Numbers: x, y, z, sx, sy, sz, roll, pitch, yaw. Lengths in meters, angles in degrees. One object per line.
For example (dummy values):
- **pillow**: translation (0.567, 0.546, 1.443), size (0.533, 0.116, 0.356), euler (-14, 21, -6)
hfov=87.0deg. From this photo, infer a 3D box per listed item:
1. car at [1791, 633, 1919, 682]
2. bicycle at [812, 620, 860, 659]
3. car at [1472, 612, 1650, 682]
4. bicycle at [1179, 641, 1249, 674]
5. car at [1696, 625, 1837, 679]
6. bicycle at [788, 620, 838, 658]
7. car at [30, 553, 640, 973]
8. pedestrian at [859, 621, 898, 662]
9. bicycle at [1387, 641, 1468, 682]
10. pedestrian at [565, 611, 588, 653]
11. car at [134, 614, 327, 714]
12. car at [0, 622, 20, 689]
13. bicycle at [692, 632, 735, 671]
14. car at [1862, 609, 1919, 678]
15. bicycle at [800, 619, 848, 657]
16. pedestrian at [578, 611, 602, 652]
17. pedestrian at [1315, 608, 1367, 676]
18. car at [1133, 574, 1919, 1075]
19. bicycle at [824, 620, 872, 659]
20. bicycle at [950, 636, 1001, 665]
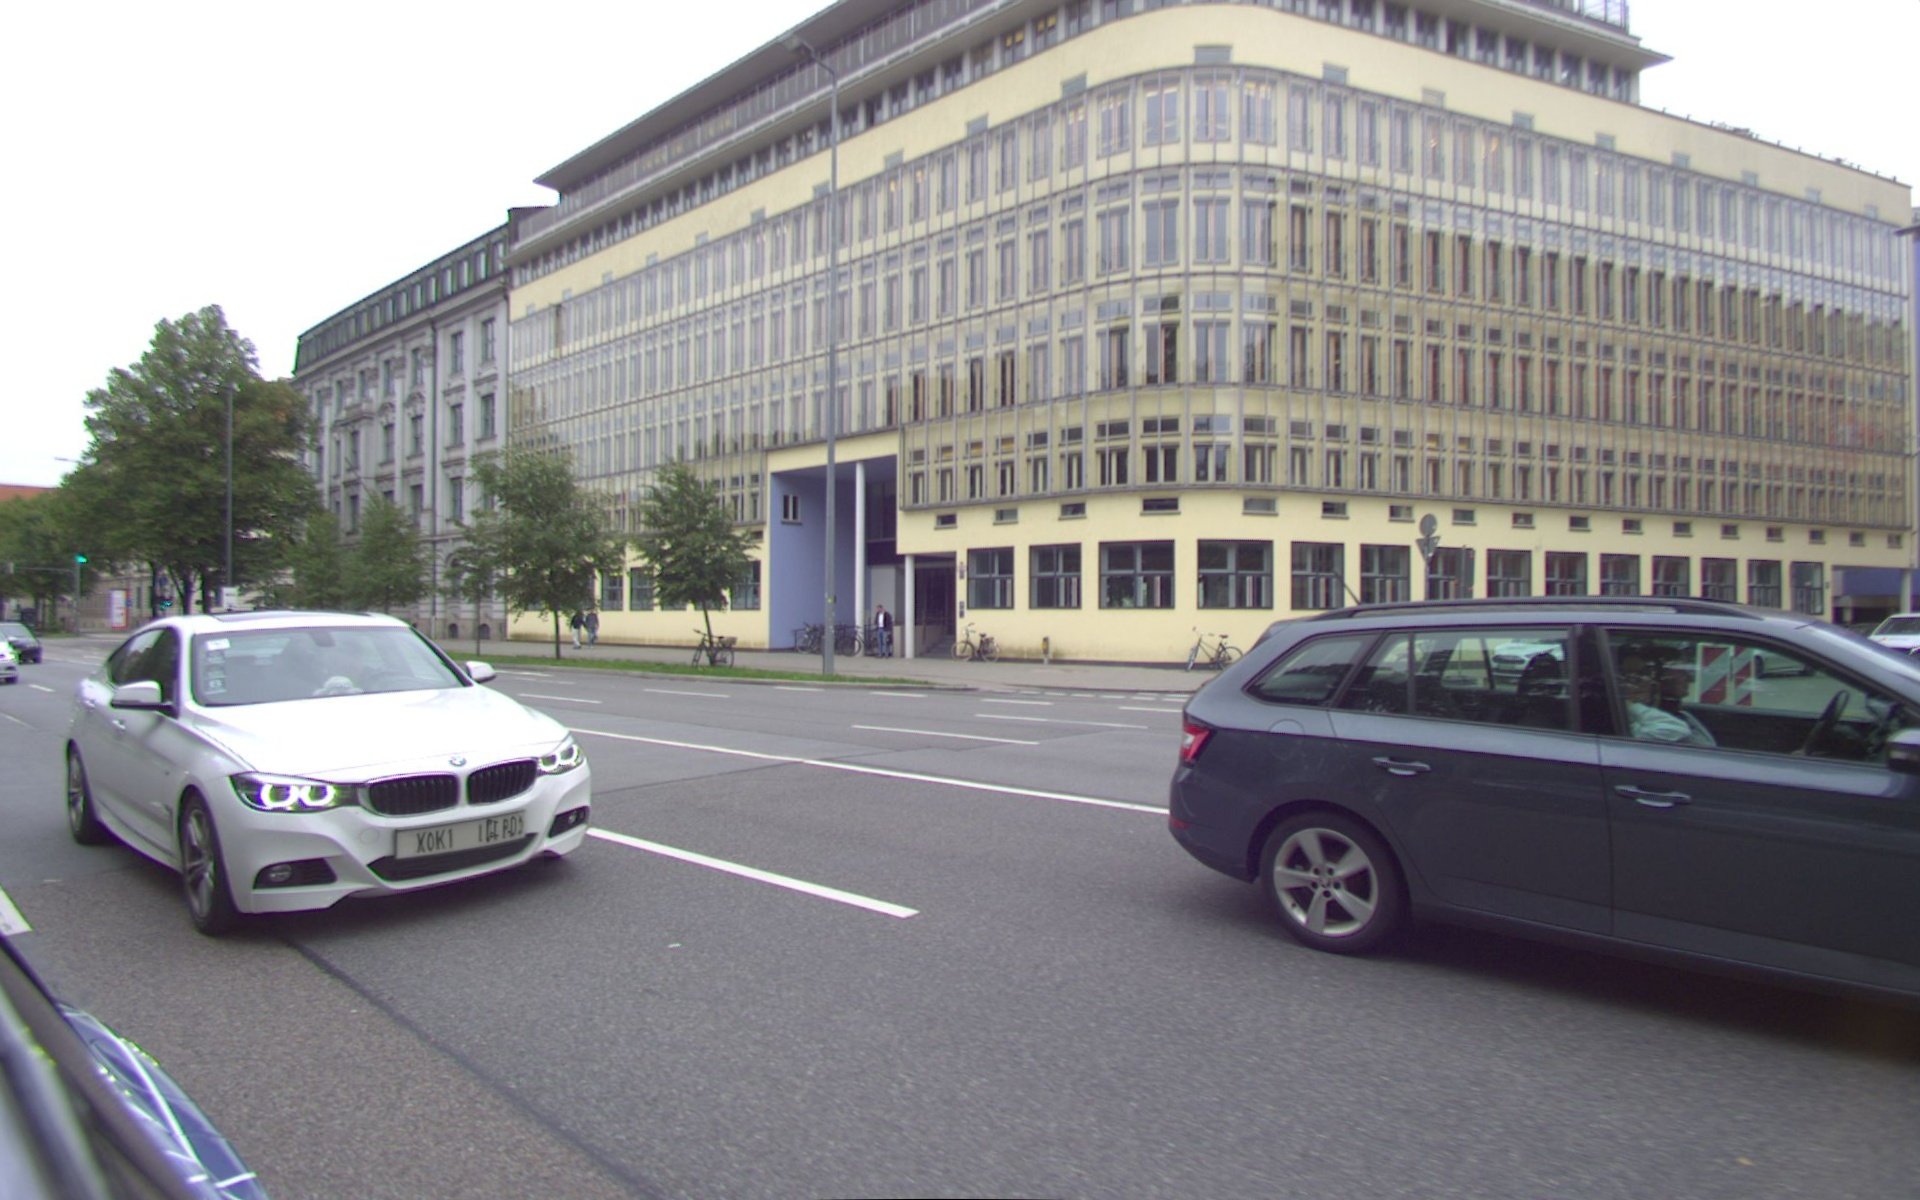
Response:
- **car**: translation (28.961, 1.810, 32.616), size (3.607, 1.468, 1.748), euler (0, -2, -21)
- **bicycle**: translation (-4.562, 1.439, 37.350), size (0.573, 1.328, 1.991), euler (-1, 0, 35)
- **car**: translation (16.286, 1.232, 27.460), size (4.254, 1.763, 1.876), euler (0, -2, -21)
- **bicycle**: translation (6.883, 1.554, 27.453), size (1.710, 0.884, 0.587), euler (0, -2, -7)
- **car**: translation (23.915, 1.512, 30.002), size (3.896, 1.509, 1.494), euler (0, -2, -22)
- **bicycle**: translation (-5.532, 1.454, 38.195), size (0.637, 1.328, 1.991), euler (-1, 0, 35)
- **car**: translation (-4.172, 0.673, 6.301), size (5.023, 1.649, 1.774), euler (-1, -1, 40)
- **pedestrian**: translation (-2.779, 1.394, 34.483), size (1.085, 1.375, 0.829), euler (-2, -2, 41)
- **bicycle**: translation (11.897, 1.557, 25.754), size (1.817, 1.028, 0.587), euler (0, -2, -7)
- **pedestrian**: translation (-16.732, 1.373, 44.156), size (0.835, 1.790, 0.609), euler (-1, 0, 41)
- **car**: translation (-12.615, 1.013, 17.409), size (4.335, 1.528, 1.674), euler (-1, -2, 40)
- **car**: translation (-23.142, 1.240, 23.254), size (4.272, 1.458, 1.774), euler (-1, -1, 40)
- **bicycle**: translation (-6.549, 1.355, 26.865), size (1.382, 1.020, 0.278), euler (-1, 0, 37)
- **car**: translation (28.812, 1.225, 29.423), size (4.984, 1.924, 1.758), euler (0, -2, -22)
- **bicycle**: translation (-5.057, 1.416, 37.716), size (0.573, 1.328, 1.991), euler (-1, 0, 35)
- **pedestrian**: translation (-16.329, 1.382, 44.661), size (0.835, 1.790, 0.609), euler (-1, 0, 41)
- **pedestrian**: translation (10.198, 1.107, 27.107), size (0.978, 1.746, 0.817), euler (-1, 0, -19)
- **car**: translation (2.989, 0.669, 3.960), size (4.272, 1.458, 1.774), euler (-1, -1, 40)
- **bicycle**: translation (-4.066, 1.423, 36.979), size (0.573, 1.328, 1.991), euler (-1, 0, 35)
- **bicycle**: translation (0.485, 1.567, 31.515), size (1.737, 0.884, 0.471), euler (-2, -2, 44)
